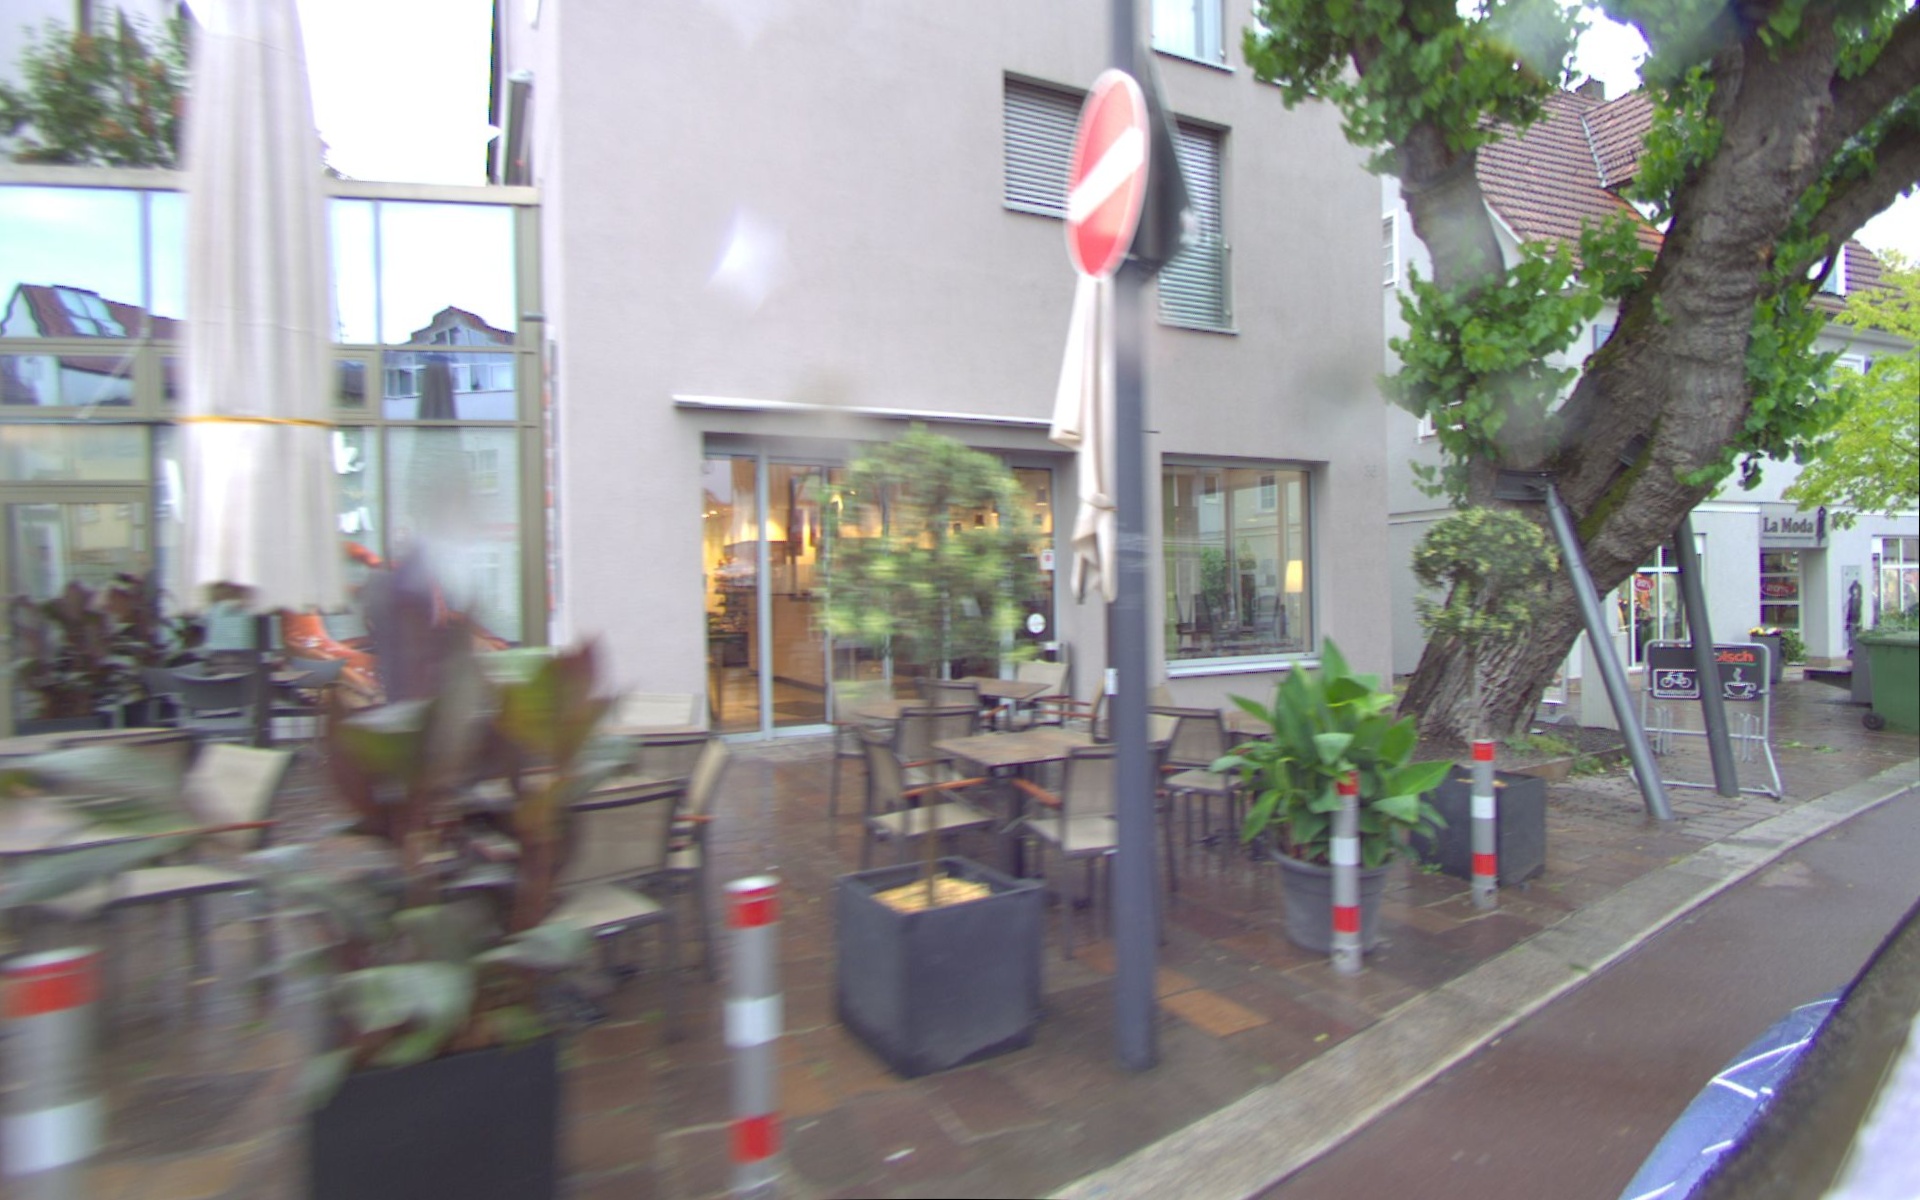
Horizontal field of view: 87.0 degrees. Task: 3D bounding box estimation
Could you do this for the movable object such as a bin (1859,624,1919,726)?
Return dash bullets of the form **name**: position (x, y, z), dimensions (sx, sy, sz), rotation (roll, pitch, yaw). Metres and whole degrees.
- **movable object such as a bin**: position (10.617, 0.827, 11.297), dimensions (0.527, 1.088, 0.766), rotation (0, 0, -35)
